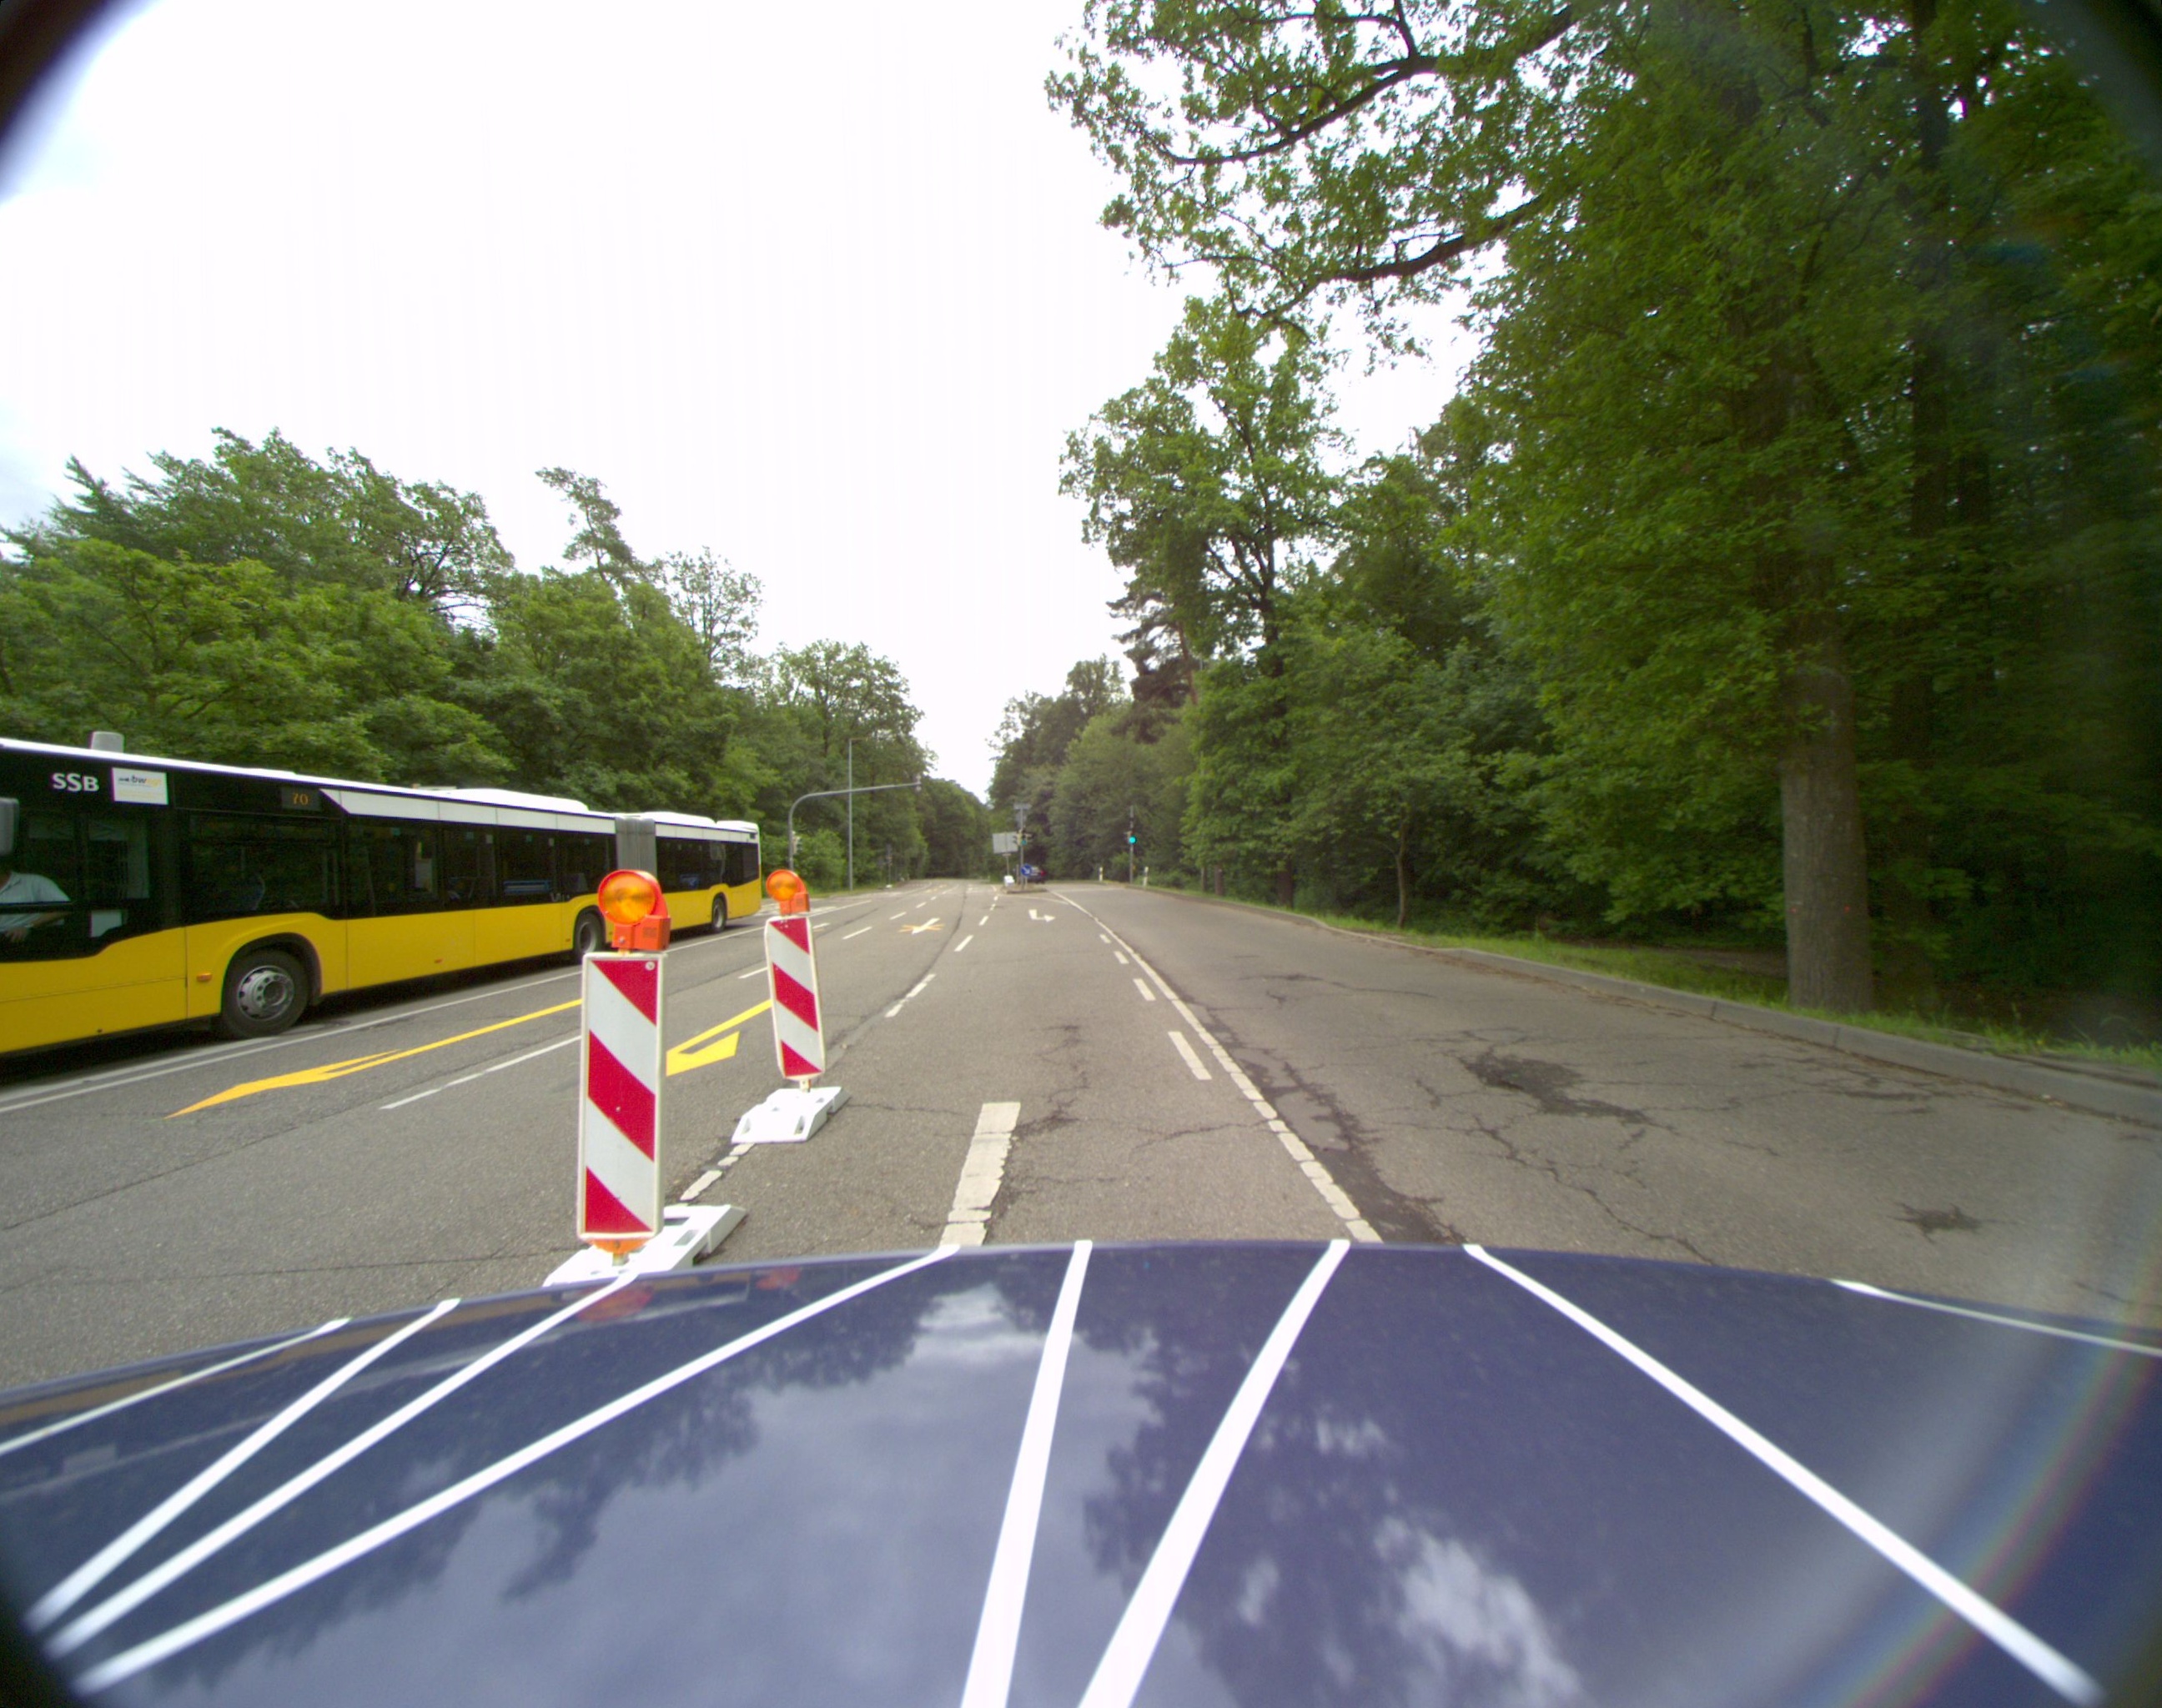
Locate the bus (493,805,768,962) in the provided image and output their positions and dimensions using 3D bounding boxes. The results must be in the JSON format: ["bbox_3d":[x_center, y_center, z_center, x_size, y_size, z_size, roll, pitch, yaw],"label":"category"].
[{"bbox_3d":[-10.814,0.625,19.465,2.811,3.140,7.754,-2,0,-4],"label":"bus"}]

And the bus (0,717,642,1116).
[{"bbox_3d":[-10.192,0.549,10.349,2.811,3.140,10.515,-2,0,-4],"label":"bus"}]

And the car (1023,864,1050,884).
[{"bbox_3d":[-3.412,1.496,57.837,1.752,1.322,3.997,-2,1,-8],"label":"car"}]
